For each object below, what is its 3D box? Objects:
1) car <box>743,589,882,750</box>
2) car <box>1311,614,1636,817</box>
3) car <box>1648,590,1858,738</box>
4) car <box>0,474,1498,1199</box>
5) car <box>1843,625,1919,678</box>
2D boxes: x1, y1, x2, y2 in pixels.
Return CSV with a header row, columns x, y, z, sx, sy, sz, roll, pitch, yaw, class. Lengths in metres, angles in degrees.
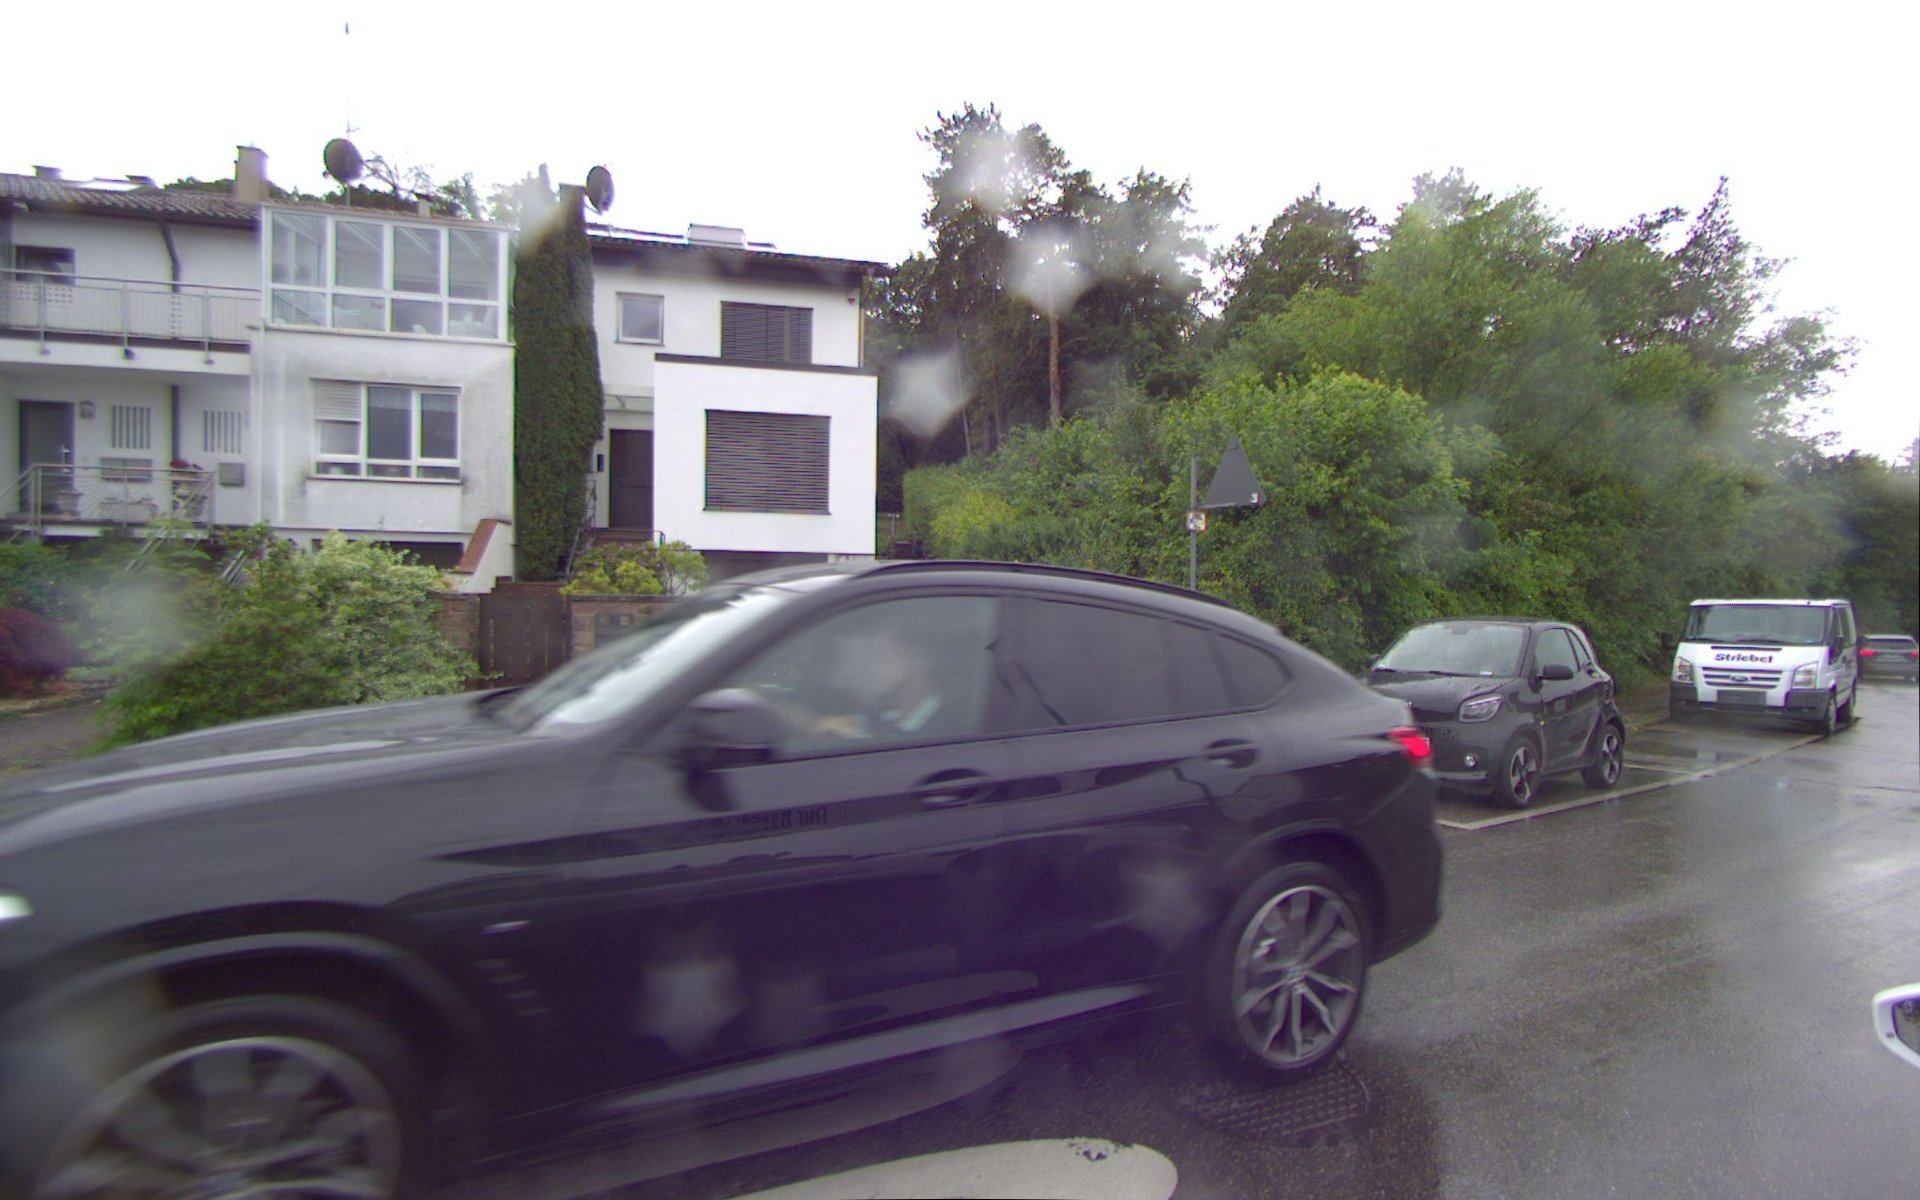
x,y,z,sx,sy,sz,roll,pitch,yaw,class
-2.170,0.840,14.317,1.709,1.975,3.676,0,1,-11,car
4.730,0.919,9.153,2.917,1.531,1.589,2,-1,-39,car
12.883,0.924,16.173,2.090,2.001,5.140,0,-1,45,car
-0.425,0.655,3.410,4.289,1.626,1.922,2,-1,-28,car
31.483,1.721,34.281,1.971,1.627,4.386,2,0,41,car
